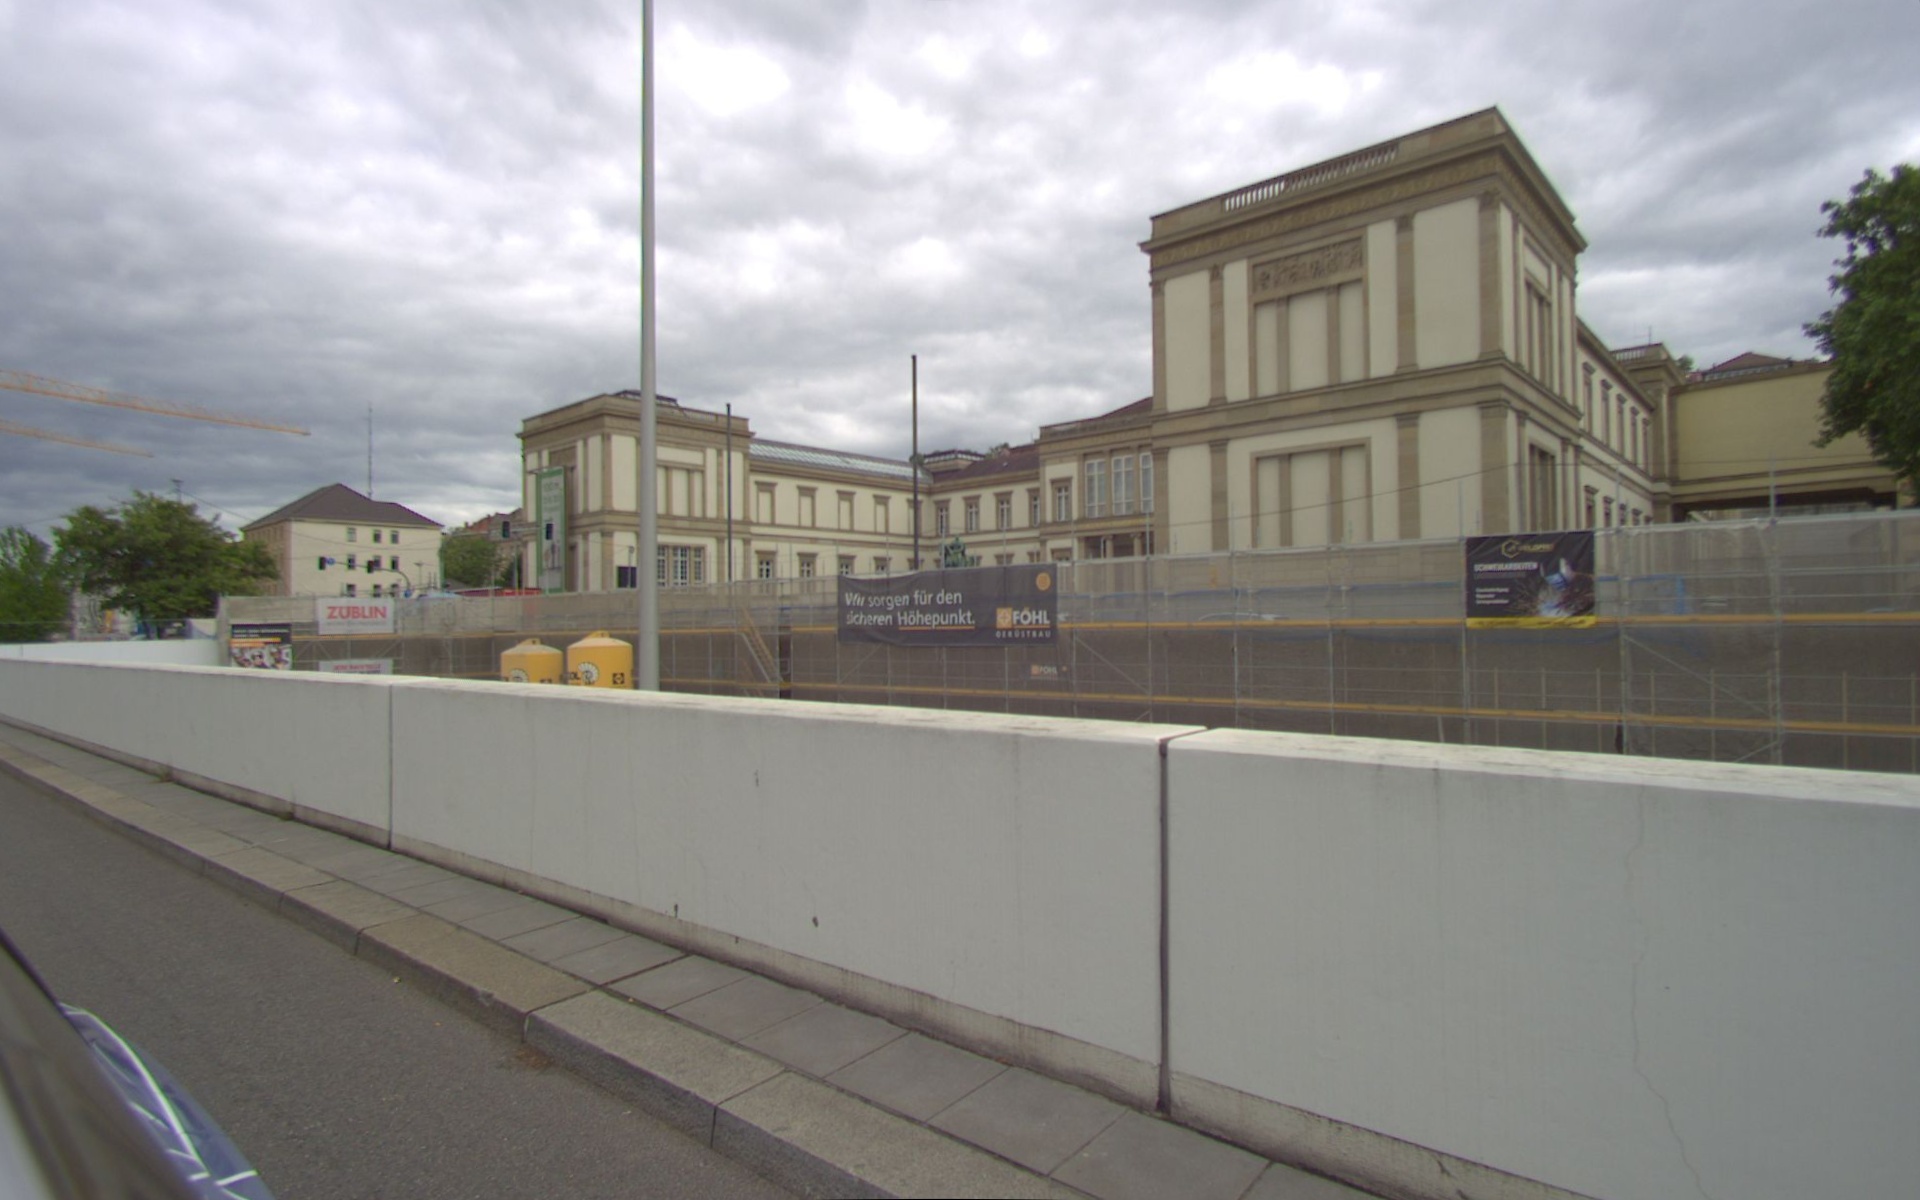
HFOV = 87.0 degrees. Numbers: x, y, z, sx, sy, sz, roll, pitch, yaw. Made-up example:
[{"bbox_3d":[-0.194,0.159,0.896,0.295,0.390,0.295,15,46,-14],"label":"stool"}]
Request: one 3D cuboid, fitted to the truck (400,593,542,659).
[{"bbox_3d":[-34.457,1.993,70.681,16.608,4.114,2.886,-3,-4,42],"label":"truck"}]
